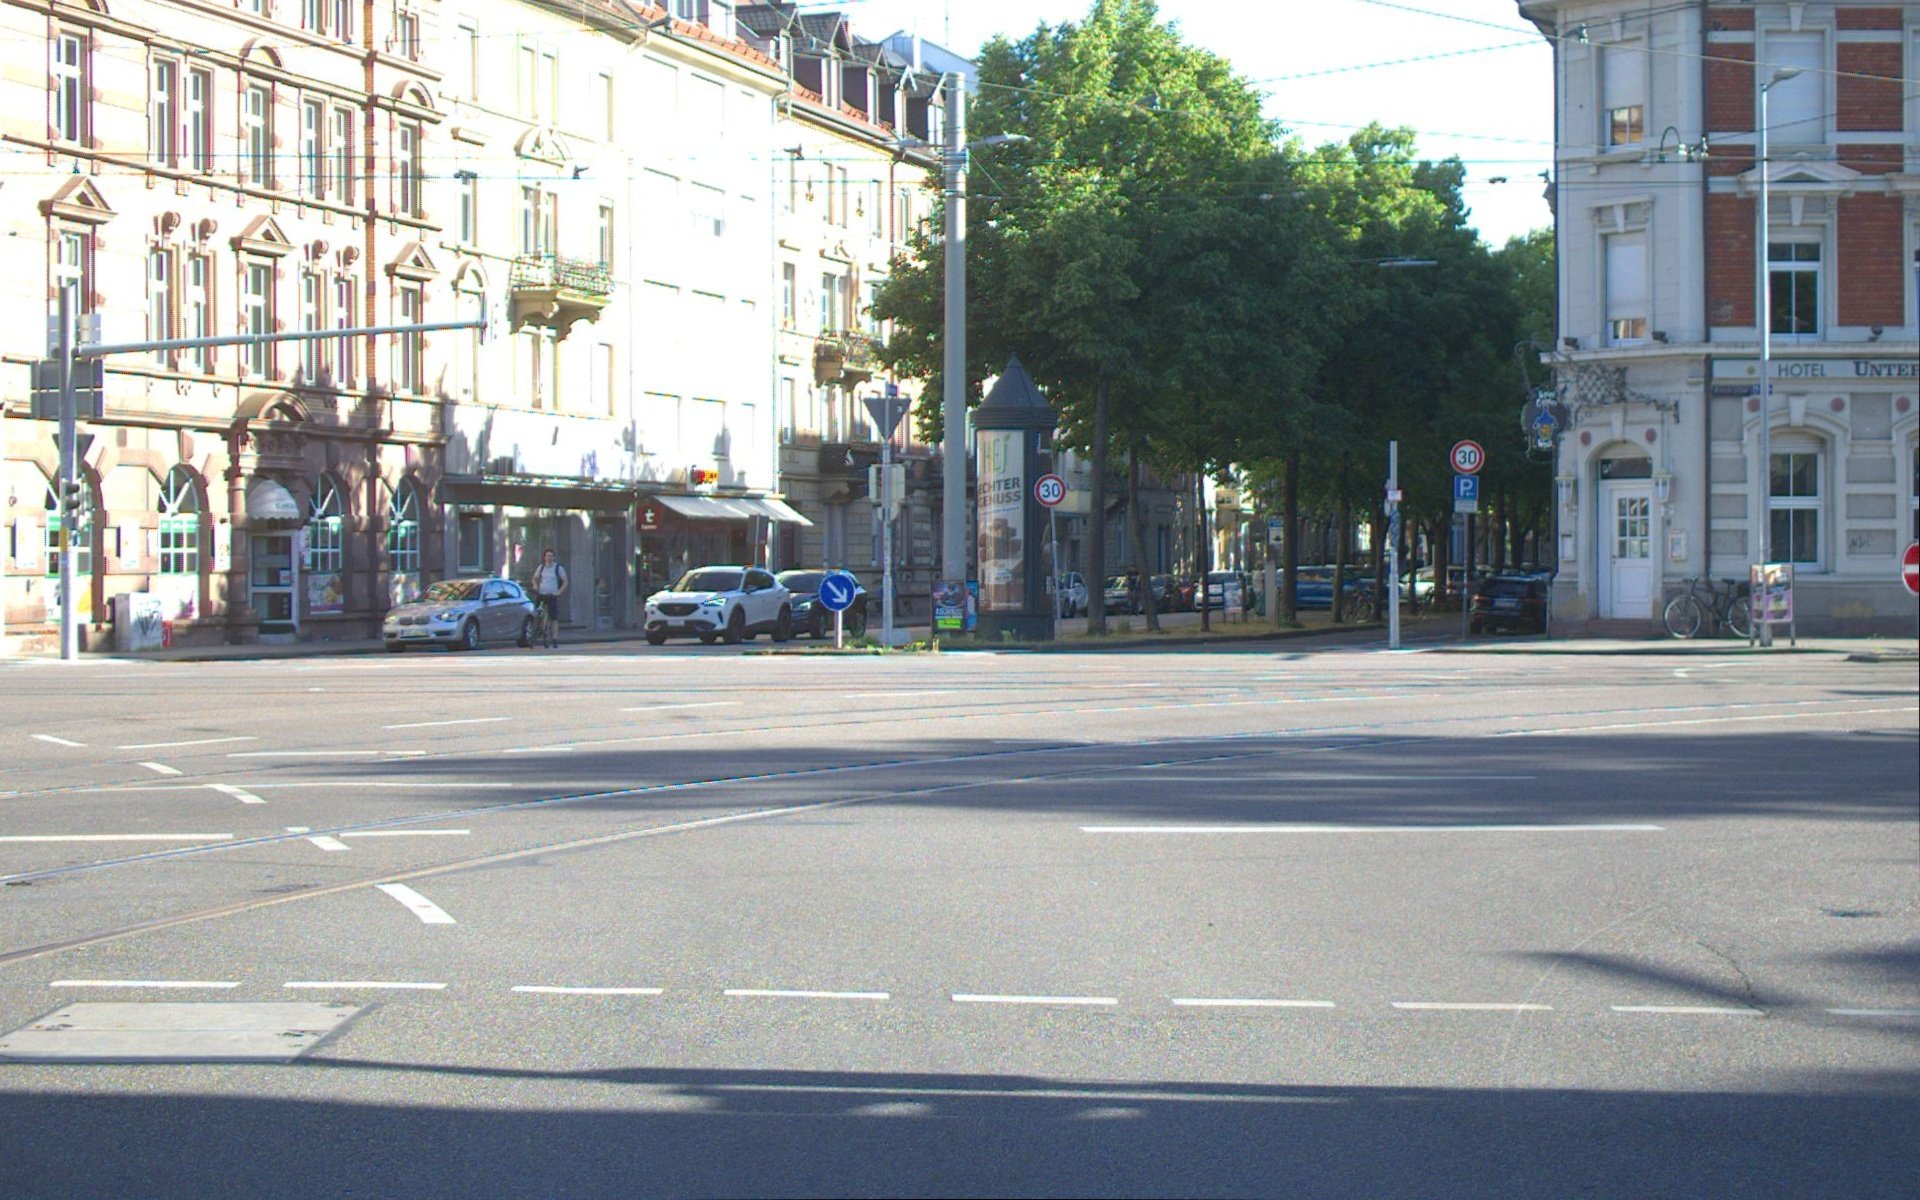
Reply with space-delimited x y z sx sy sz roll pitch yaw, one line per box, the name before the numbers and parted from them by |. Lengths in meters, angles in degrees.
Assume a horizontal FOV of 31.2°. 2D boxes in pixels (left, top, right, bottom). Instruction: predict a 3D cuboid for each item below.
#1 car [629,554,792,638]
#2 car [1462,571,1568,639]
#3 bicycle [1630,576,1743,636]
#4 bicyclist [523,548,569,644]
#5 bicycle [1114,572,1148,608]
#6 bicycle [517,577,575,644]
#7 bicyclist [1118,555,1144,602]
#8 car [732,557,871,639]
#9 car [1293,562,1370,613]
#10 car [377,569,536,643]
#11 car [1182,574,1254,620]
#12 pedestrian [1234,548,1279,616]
car | -4.838 -0.090 67.287 1.804 1.579 4.156 1 1 17
car | 13.333 0.104 82.482 1.758 1.550 3.996 1 1 20
bicycle | 12.069 0.101 57.130 1.804 0.959 0.603 1 0 14
bicyclist | -7.841 -0.081 65.141 0.565 1.797 0.913 1 0 15
bicycle | 5.757 -0.331 115.829 0.674 1.203 1.820 1 1 18
bicycle | -7.837 0.193 65.136 0.565 1.250 1.556 1 0 14
bicyclist | 5.762 -0.736 115.828 0.674 1.563 0.747 1 0 18
car | -3.362 -0.060 73.624 1.826 1.679 3.872 1 1 16
car | 12.621 -0.421 116.621 1.995 1.678 3.997 1 1 15
car | -9.781 0.104 67.077 1.661 1.369 3.889 1 1 15
car | 9.190 -0.121 122.225 1.804 1.570 3.888 1 1 15
pedestrian | 8.736 -0.533 101.331 0.961 2.007 0.919 1 0 -27
